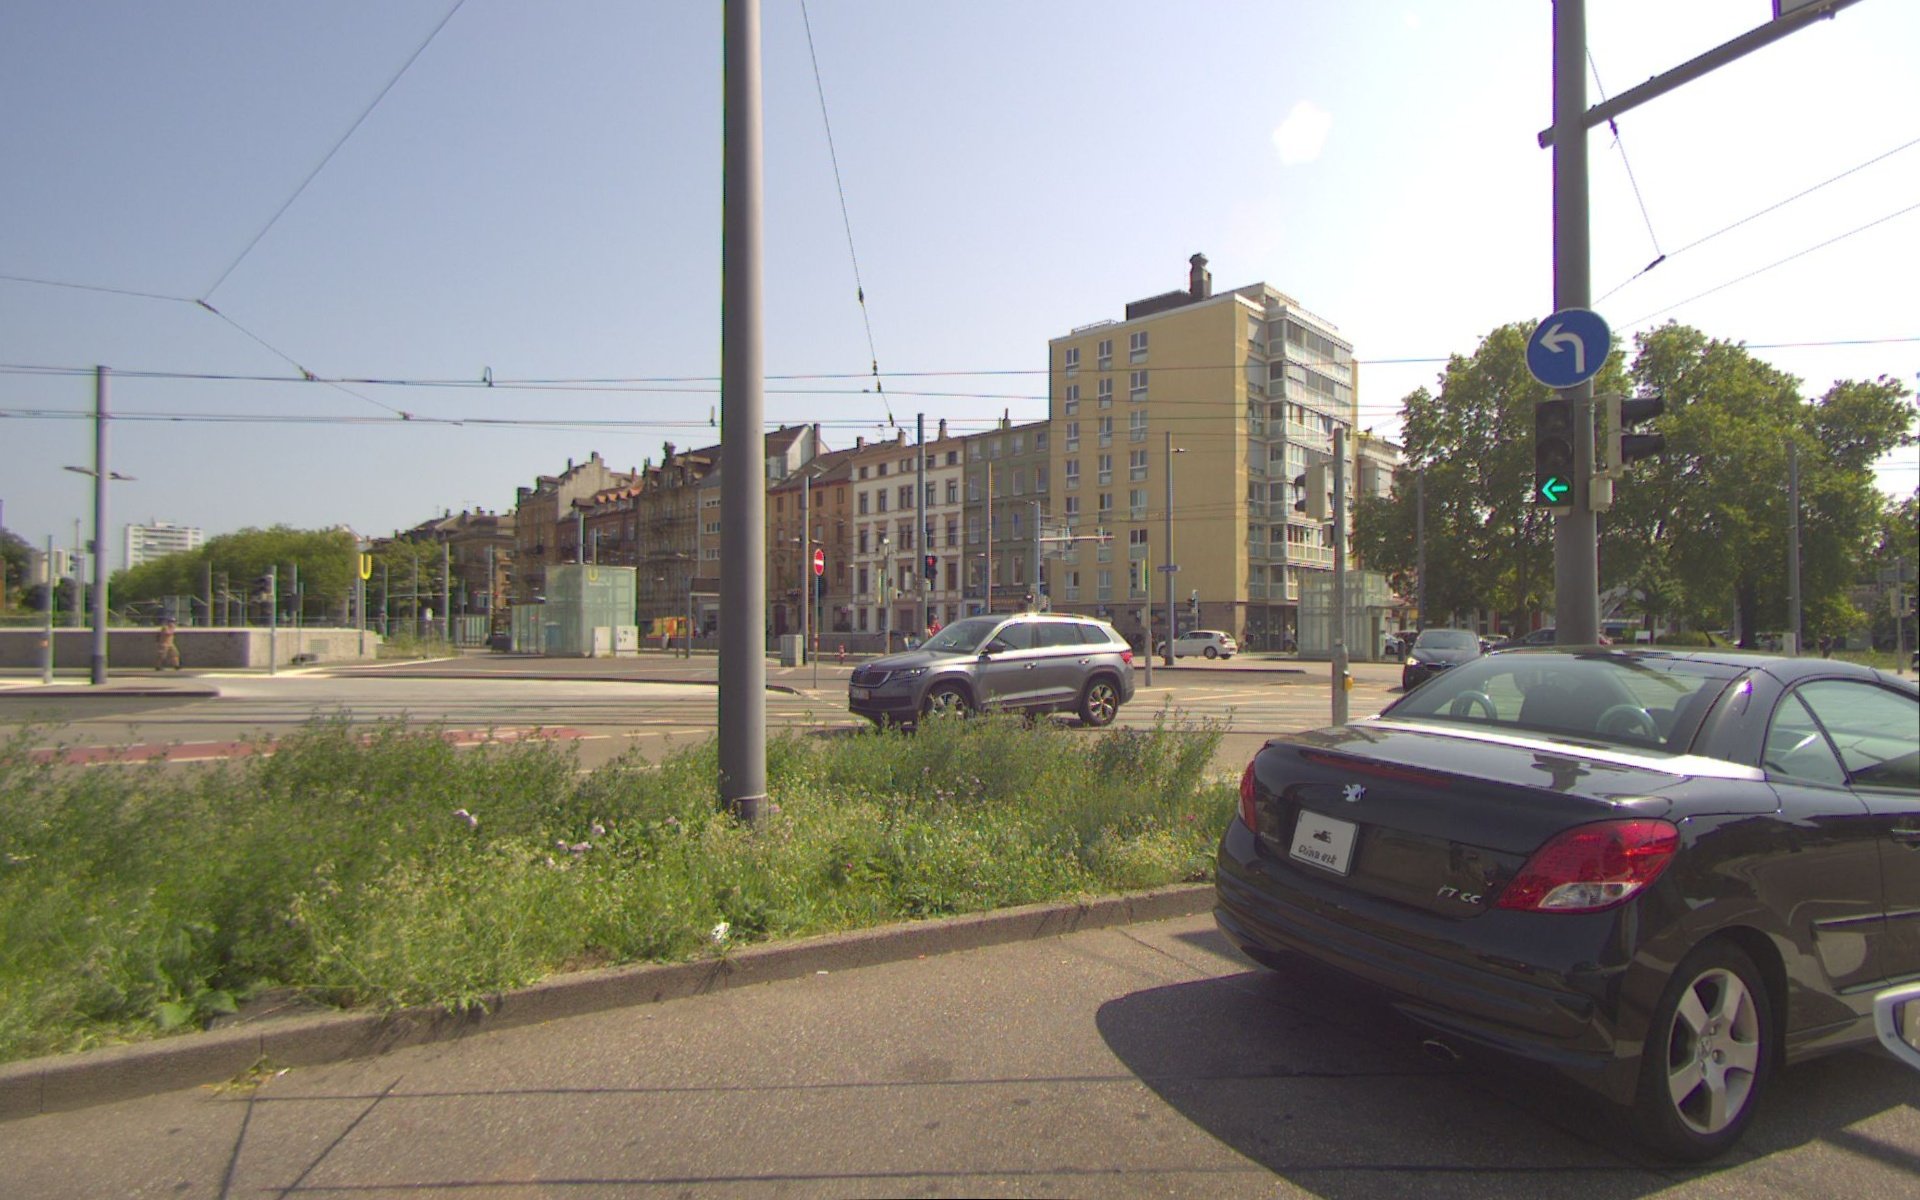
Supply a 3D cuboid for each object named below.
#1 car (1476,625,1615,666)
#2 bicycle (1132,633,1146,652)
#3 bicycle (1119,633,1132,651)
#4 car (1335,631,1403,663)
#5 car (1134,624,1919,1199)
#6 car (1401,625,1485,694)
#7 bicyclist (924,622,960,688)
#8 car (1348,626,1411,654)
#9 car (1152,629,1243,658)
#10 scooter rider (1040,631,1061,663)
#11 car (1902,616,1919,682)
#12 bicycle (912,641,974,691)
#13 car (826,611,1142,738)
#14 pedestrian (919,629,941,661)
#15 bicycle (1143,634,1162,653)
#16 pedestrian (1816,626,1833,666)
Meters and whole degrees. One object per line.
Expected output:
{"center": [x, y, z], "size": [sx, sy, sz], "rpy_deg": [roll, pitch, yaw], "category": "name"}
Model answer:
{"center": [23.423, 1.776, 40.275], "size": [4.557, 1.524, 1.990], "rpy_deg": [-1, -2, 41], "category": "car"}
{"center": [12.077, 2.862, 67.816], "size": [0.680, 1.220, 3.265], "rpy_deg": [0, -2, 5], "category": "bicycle"}
{"center": [11.349, 2.868, 68.849], "size": [0.680, 1.220, 2.793], "rpy_deg": [0, -2, 5], "category": "bicycle"}
{"center": [27.980, 3.186, 68.790], "size": [3.946, 2.040, 1.919], "rpy_deg": [-1, -2, 44], "category": "car"}
{"center": [2.736, 0.834, 3.935], "size": [3.731, 1.406, 1.760], "rpy_deg": [1, 0, -26], "category": "car"}
{"center": [12.060, 1.430, 25.292], "size": [1.706, 1.581, 4.207], "rpy_deg": [0, -2, 23], "category": "car"}
{"center": [-0.428, 1.281, 23.755], "size": [0.632, 1.529, 0.553], "rpy_deg": [1, -2, -36], "category": "bicyclist"}
{"center": [31.595, 2.998, 75.657], "size": [3.946, 2.040, 1.919], "rpy_deg": [-1, -2, 44], "category": "car"}
{"center": [11.992, 2.171, 50.820], "size": [4.141, 1.434, 1.767], "rpy_deg": [-1, -2, 42], "category": "car"}
{"center": [3.952, 2.057, 43.911], "size": [0.602, 1.371, 0.682], "rpy_deg": [1, -2, -34], "category": "scooter rider"}
{"center": [31.860, 1.508, 30.502], "size": [4.554, 2.040, 1.992], "rpy_deg": [-1, -2, 39], "category": "car"}
{"center": [-0.421, 1.534, 23.741], "size": [0.499, 1.108, 1.918], "rpy_deg": [1, -2, -35], "category": "bicycle"}
{"center": [0.443, 1.019, 14.821], "size": [4.495, 1.621, 1.755], "rpy_deg": [1, -2, -34], "category": "car"}
{"center": [-1.482, 2.246, 49.822], "size": [0.732, 1.563, 0.855], "rpy_deg": [-1, -2, 40], "category": "pedestrian"}
{"center": [12.829, 2.853, 66.938], "size": [0.892, 1.220, 3.265], "rpy_deg": [0, -2, 5], "category": "bicycle"}
{"center": [37.456, 2.001, 43.510], "size": [0.547, 1.706, 0.452], "rpy_deg": [-1, -2, 42], "category": "pedestrian"}
